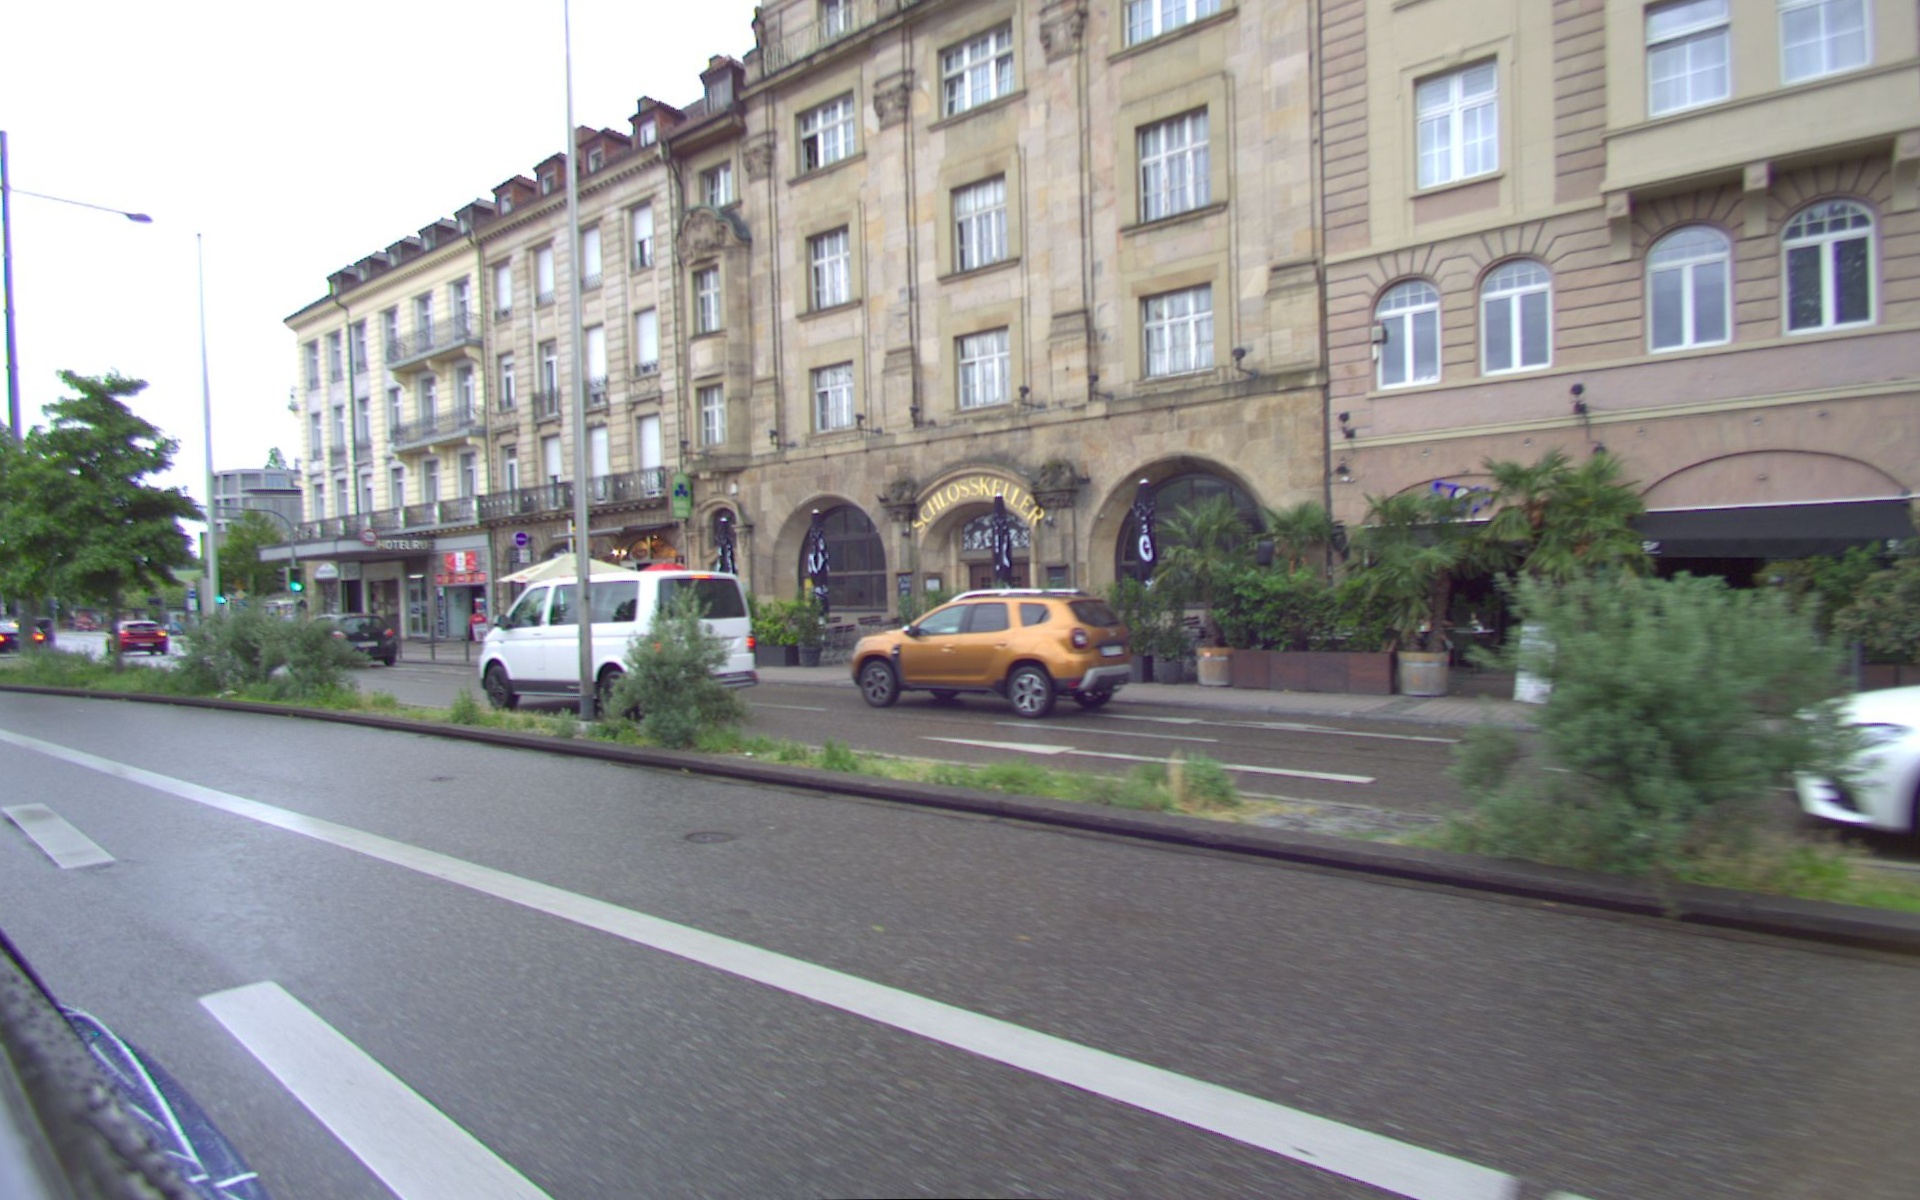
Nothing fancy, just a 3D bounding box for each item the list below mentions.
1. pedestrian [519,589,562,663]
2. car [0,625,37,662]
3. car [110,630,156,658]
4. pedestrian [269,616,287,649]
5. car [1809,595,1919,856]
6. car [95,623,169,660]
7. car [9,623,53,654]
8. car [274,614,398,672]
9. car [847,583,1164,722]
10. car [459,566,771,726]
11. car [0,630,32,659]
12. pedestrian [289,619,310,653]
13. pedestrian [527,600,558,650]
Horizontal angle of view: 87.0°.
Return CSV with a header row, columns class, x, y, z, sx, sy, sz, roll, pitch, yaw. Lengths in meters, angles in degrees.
class,x,y,z,sx,sy,sz,roll,pitch,yaw
pedestrian,-11.447,0.696,27.633,0.765,1.923,0.670,1,5,40
car,-41.480,1.852,43.612,5.025,1.475,1.824,-1,-1,39
car,-48.112,2.566,58.857,1.741,1.520,3.847,4,-4,-43
pedestrian,-31.562,1.489,46.839,0.633,1.499,0.748,-2,0,-33
car,7.440,0.655,4.904,4.977,1.417,1.774,-1,-1,38
car,-35.497,1.740,43.353,3.910,1.456,1.661,-1,0,38
car,-56.039,2.290,61.055,3.813,1.763,1.791,-1,-1,45
car,-17.028,1.141,27.558,3.754,1.443,1.613,-1,-1,37
car,0.570,0.670,14.350,4.095,1.693,1.975,-1,-1,37
car,-5.144,0.609,14.785,4.846,1.989,1.903,-1,-1,37
car,-51.917,2.380,54.804,4.368,1.475,1.824,-1,-1,39
pedestrian,-30.910,1.660,47.364,0.777,1.550,0.748,-2,0,-33
pedestrian,-14.328,0.833,34.745,0.677,1.683,0.757,0,0,33
